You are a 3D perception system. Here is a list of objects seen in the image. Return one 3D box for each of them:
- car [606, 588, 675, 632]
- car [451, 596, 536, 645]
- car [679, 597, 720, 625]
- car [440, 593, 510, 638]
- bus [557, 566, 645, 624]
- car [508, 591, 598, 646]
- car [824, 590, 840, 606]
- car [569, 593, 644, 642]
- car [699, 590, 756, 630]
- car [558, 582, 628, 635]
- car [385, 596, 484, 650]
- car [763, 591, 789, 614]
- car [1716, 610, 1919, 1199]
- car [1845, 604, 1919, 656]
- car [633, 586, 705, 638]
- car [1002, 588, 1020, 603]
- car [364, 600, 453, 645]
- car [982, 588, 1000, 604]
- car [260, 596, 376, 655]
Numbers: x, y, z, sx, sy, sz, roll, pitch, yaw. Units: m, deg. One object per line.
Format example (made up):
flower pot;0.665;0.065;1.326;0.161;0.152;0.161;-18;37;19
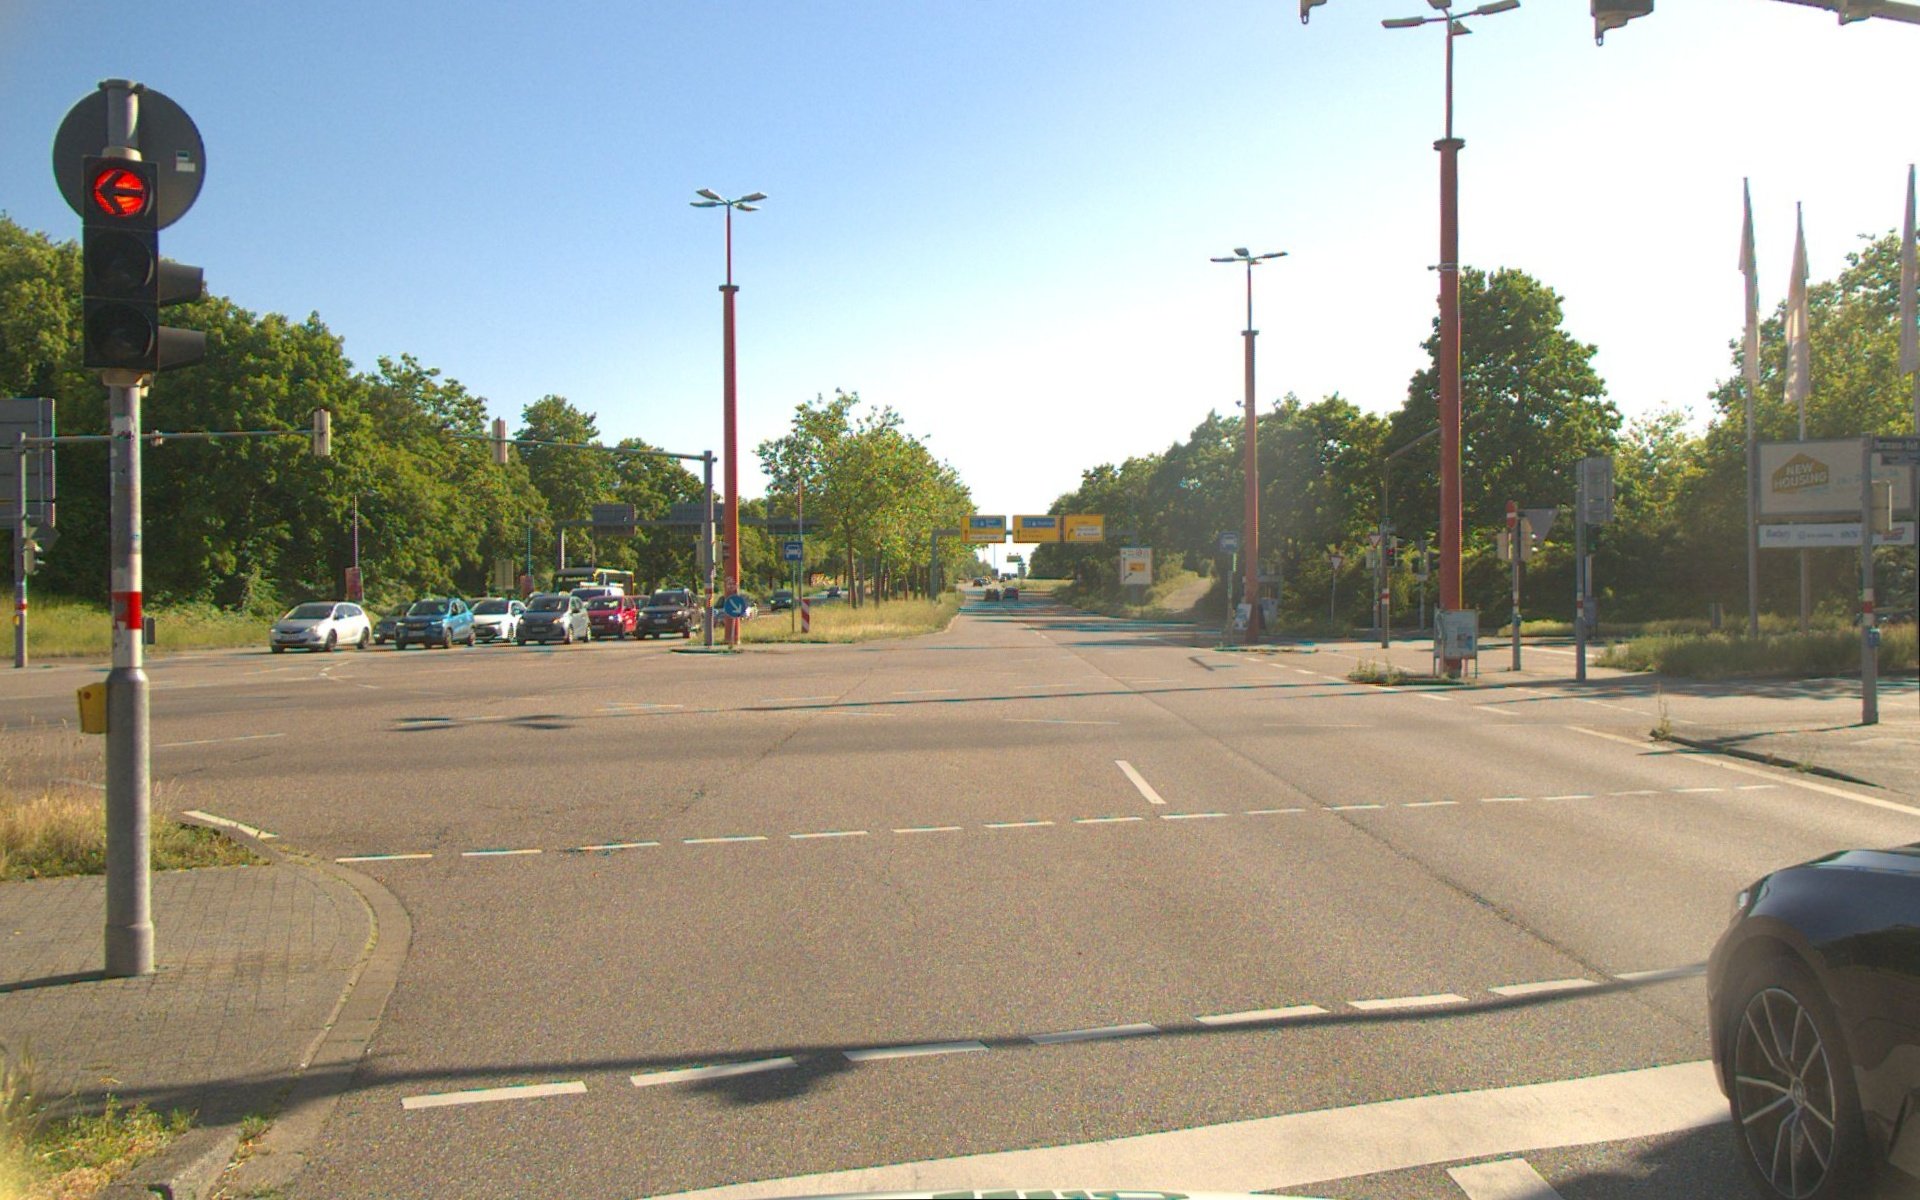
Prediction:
car;-12.406;0.374;64.423;1.862;1.658;4.000;0;0;1
car;-16.032;0.671;57.019;1.863;1.582;3.998;-1;0;-2
car;-15.559;0.656;98.924;1.847;1.570;3.999;-2;0;-1
car;-19.452;0.648;66.491;1.742;1.681;3.972;-3;-1;-2
bus;-21.977;-0.237;101.967;2.591;3.318;12.535;1;0;0
car;-12.769;0.559;52.080;1.836;1.577;4.027;-2;1;-1
car;-17.152;-0.299;221.678;1.881;2.034;4.602;0;0;-1
car;-12.446;0.590;58.422;1.838;1.579;3.998;-3;0;-2
car;-9.603;0.397;68.555;1.847;1.570;3.999;-2;0;-1
car;-15.621;0.339;70.579;1.922;2.193;5.080;-1;0;-1
car;-16.104;0.690;50.868;1.764;1.542;3.858;-2;0;0
car;-15.618;0.202;140.192;1.800;1.869;3.960;0;0;-1
car;2.899;0.767;2.362;1.727;1.466;4.295;1;0;1
car;31.954;1.012;54.926;4.192;1.664;1.771;1;0;11
car;-9.838;0.392;56.203;1.757;1.654;4.142;-2;0;-2
car;6.157;-0.558;200.700;1.953;1.764;3.999;1;0;-1
car;-19.888;0.783;59.785;1.846;1.539;4.000;-1;0;0
car;3.581;-0.438;191.157;1.953;1.764;3.999;1;0;-1
car;-19.542;0.745;50.533;1.838;1.681;4.219;-1;0;0
